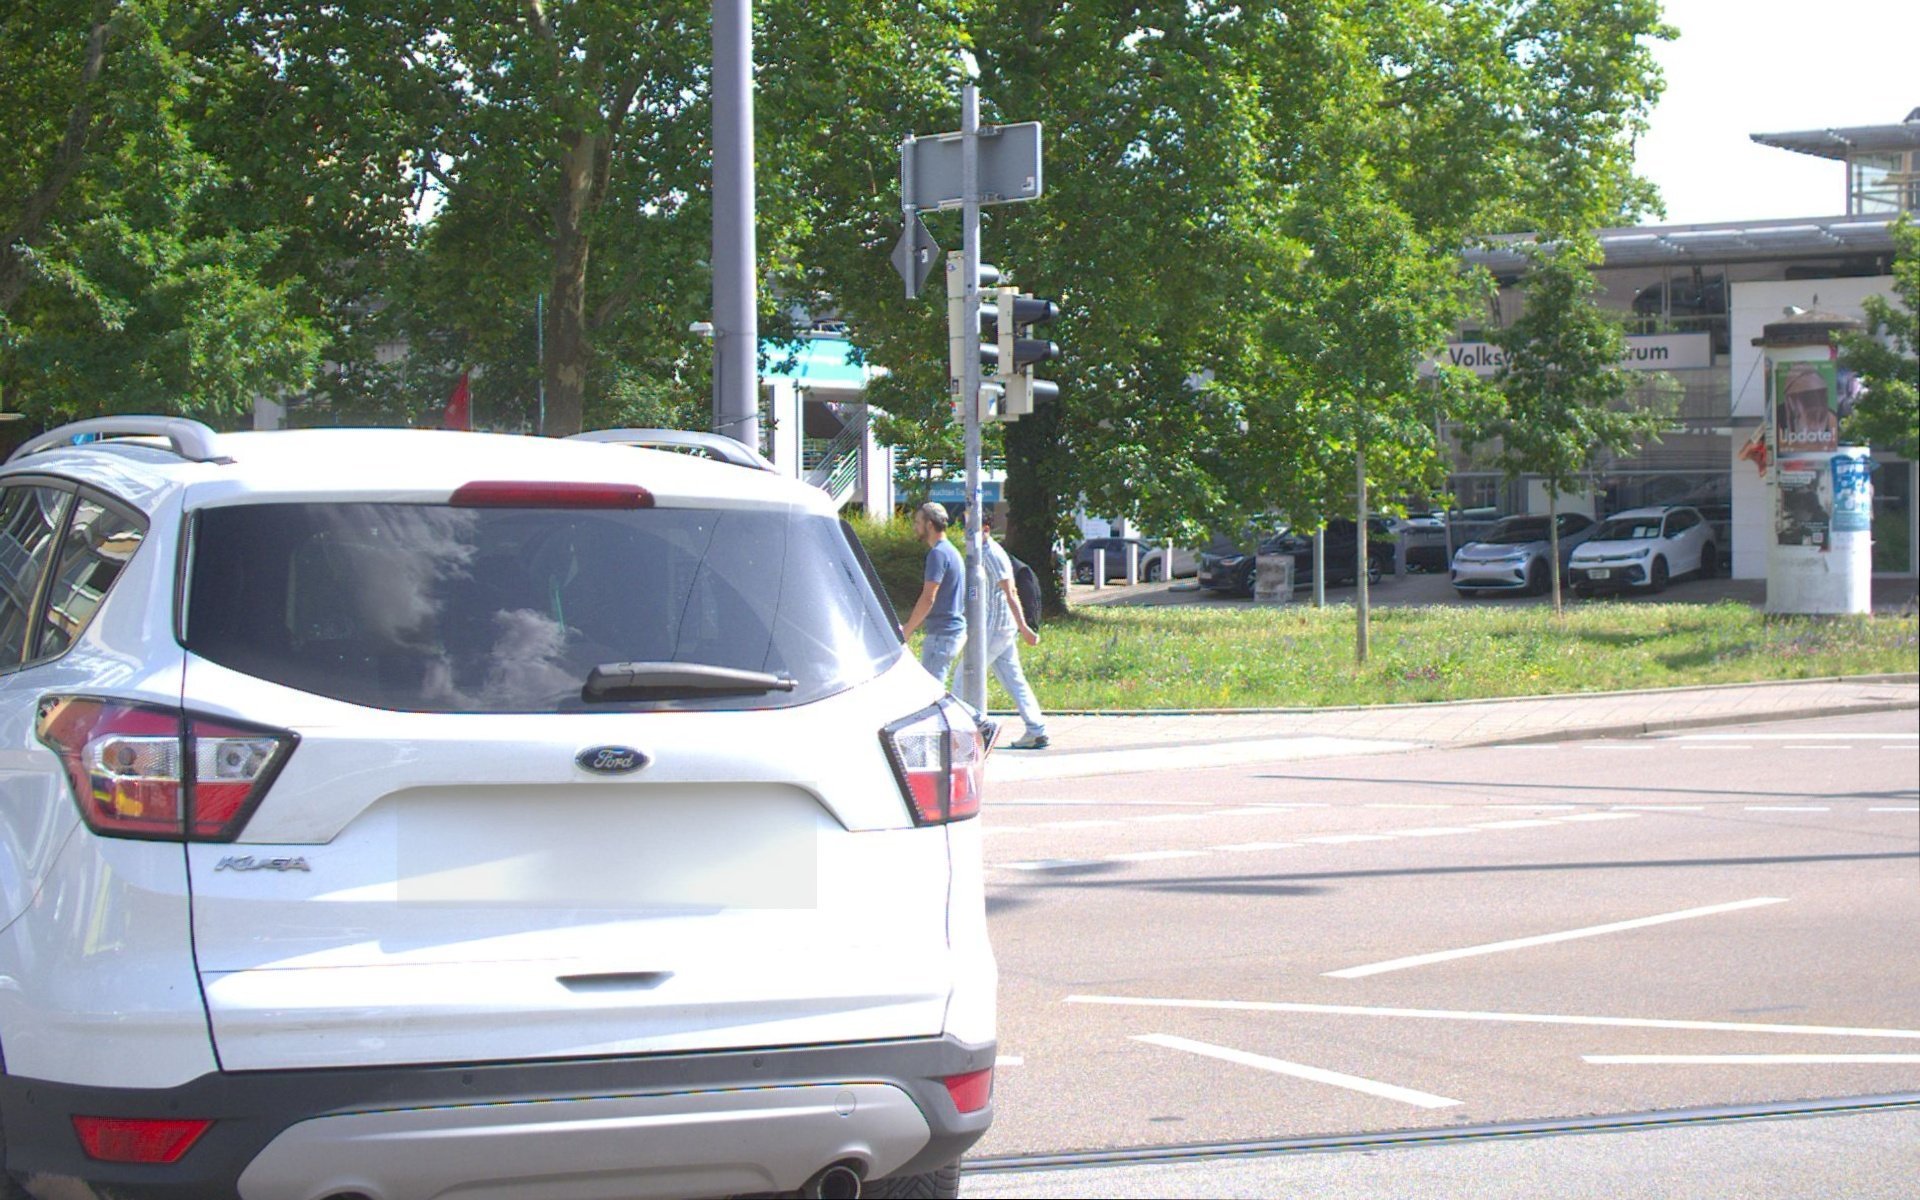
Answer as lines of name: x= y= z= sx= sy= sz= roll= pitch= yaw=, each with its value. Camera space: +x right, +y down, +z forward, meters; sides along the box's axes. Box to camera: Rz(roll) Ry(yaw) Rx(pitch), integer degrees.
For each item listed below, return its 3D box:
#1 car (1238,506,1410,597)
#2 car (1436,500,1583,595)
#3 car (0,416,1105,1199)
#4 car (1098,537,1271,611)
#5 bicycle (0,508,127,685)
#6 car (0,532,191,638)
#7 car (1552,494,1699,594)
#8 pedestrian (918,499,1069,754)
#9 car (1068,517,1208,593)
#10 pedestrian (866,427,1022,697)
car: x=8.155 y=-1.060 z=76.595 sx=1.970 sy=1.930 sz=5.060 roll=-1 pitch=0 yaw=29
car: x=11.777 y=-1.096 z=73.508 sx=1.970 sy=1.930 sz=4.225 roll=-1 pitch=0 yaw=26
car: x=-1.395 y=0.500 z=7.229 sx=1.827 sy=1.658 sz=3.956 roll=-1 pitch=2 yaw=-24
car: x=5.629 y=-0.644 z=86.343 sx=3.995 sy=1.784 sz=1.838 roll=0 pitch=0 yaw=38
bicycle: x=-8.094 y=-0.052 z=28.527 sx=2.169 sy=1.409 sz=0.812 roll=1 pitch=2 yaw=15
car: x=-11.988 y=-0.184 z=44.248 sx=3.993 sy=1.322 sz=1.631 roll=0 pitch=0 yaw=28
car: x=13.955 y=-1.148 z=71.947 sx=1.996 sy=2.007 sz=4.225 roll=-1 pitch=0 yaw=26
pedestrian: x=0.238 y=0.174 z=24.086 sx=0.924 sy=1.737 sz=0.589 roll=2 pitch=2 yaw=10
car: x=4.215 y=-1.049 z=82.024 sx=1.835 sy=1.784 sz=4.001 roll=0 pitch=0 yaw=-21
pedestrian: x=-0.103 y=-0.259 z=22.826 sx=0.924 sy=1.737 sz=0.589 roll=2 pitch=2 yaw=7
